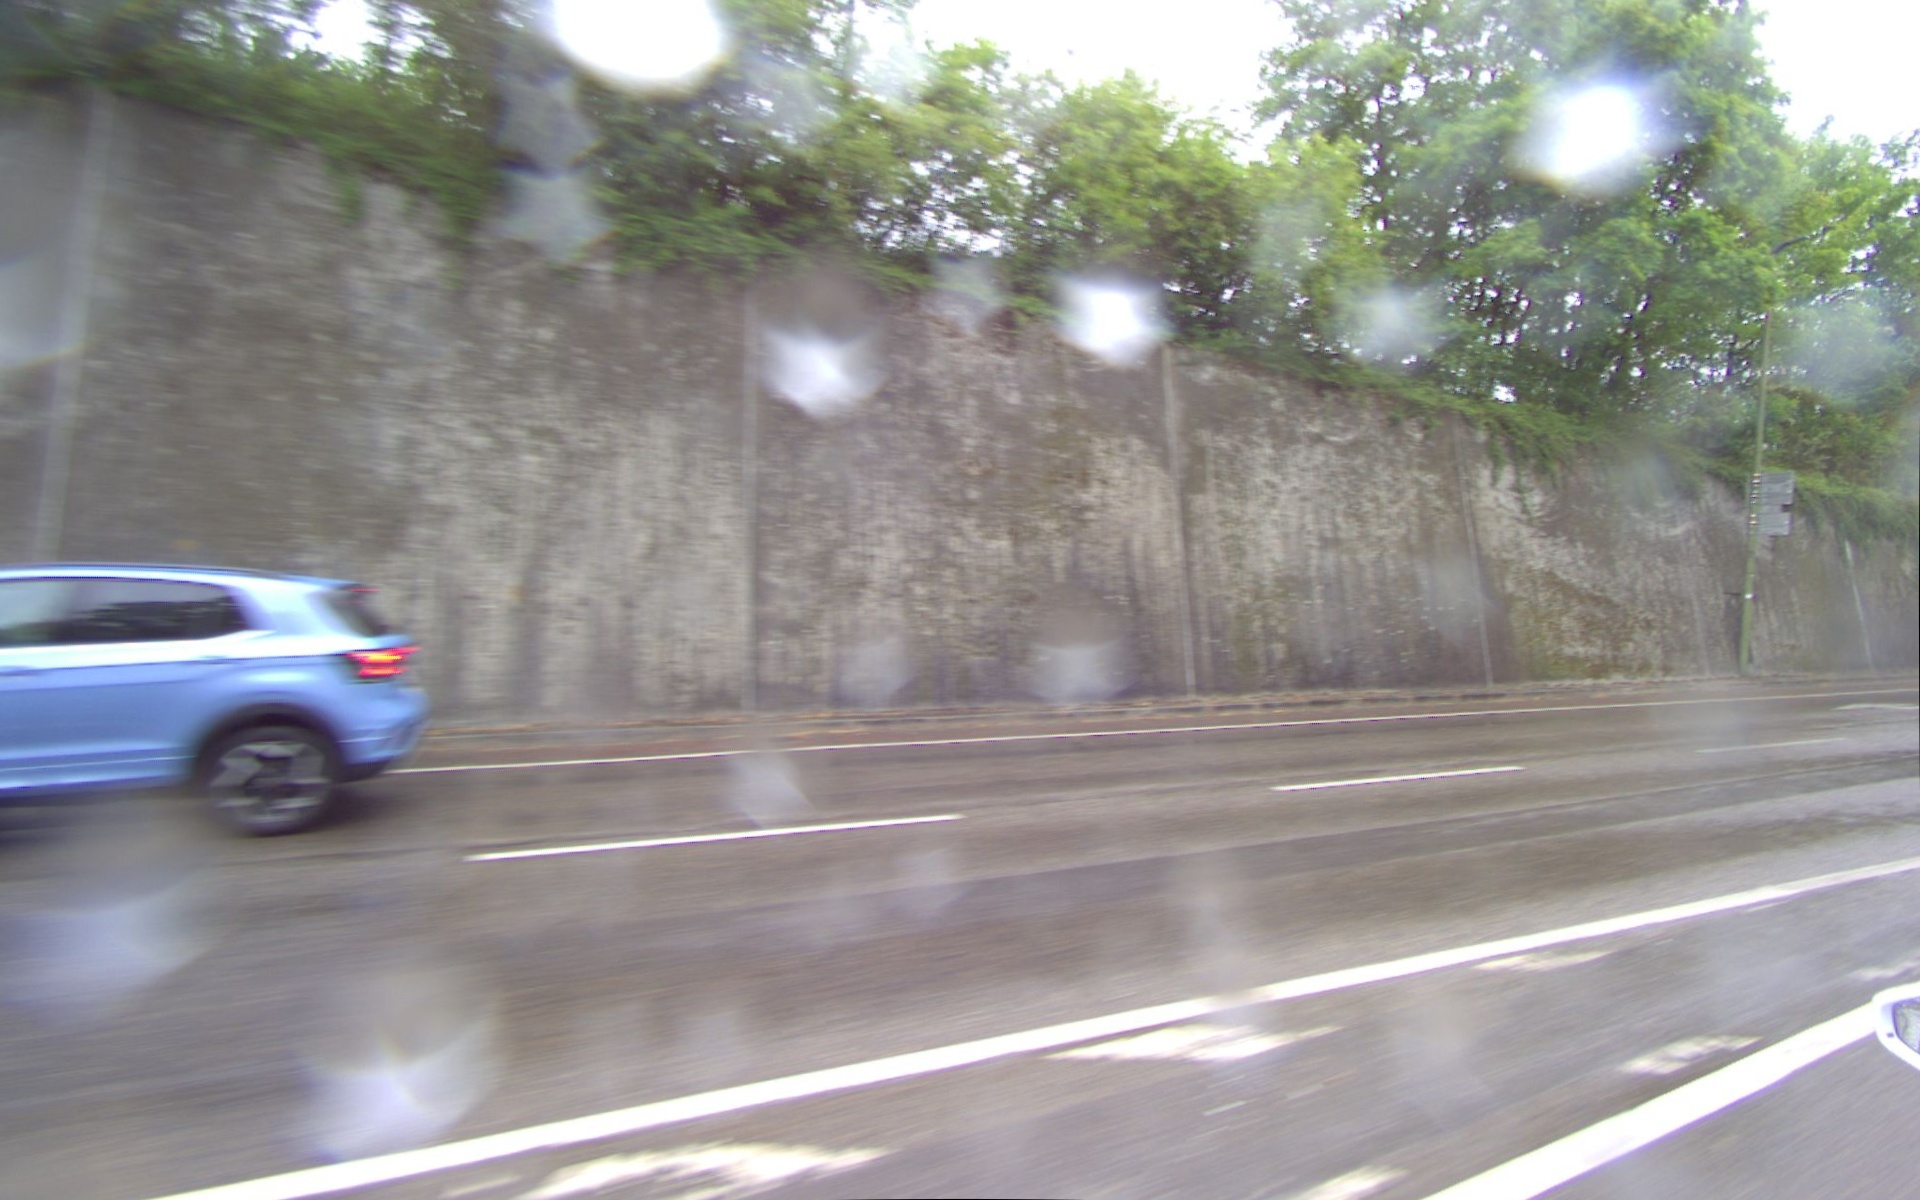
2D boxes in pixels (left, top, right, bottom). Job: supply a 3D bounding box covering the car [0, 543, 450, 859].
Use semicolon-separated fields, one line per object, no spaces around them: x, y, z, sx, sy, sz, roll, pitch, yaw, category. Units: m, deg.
-5.448;0.545;6.172;3.995;1.679;1.810;2;-1;-25;car
